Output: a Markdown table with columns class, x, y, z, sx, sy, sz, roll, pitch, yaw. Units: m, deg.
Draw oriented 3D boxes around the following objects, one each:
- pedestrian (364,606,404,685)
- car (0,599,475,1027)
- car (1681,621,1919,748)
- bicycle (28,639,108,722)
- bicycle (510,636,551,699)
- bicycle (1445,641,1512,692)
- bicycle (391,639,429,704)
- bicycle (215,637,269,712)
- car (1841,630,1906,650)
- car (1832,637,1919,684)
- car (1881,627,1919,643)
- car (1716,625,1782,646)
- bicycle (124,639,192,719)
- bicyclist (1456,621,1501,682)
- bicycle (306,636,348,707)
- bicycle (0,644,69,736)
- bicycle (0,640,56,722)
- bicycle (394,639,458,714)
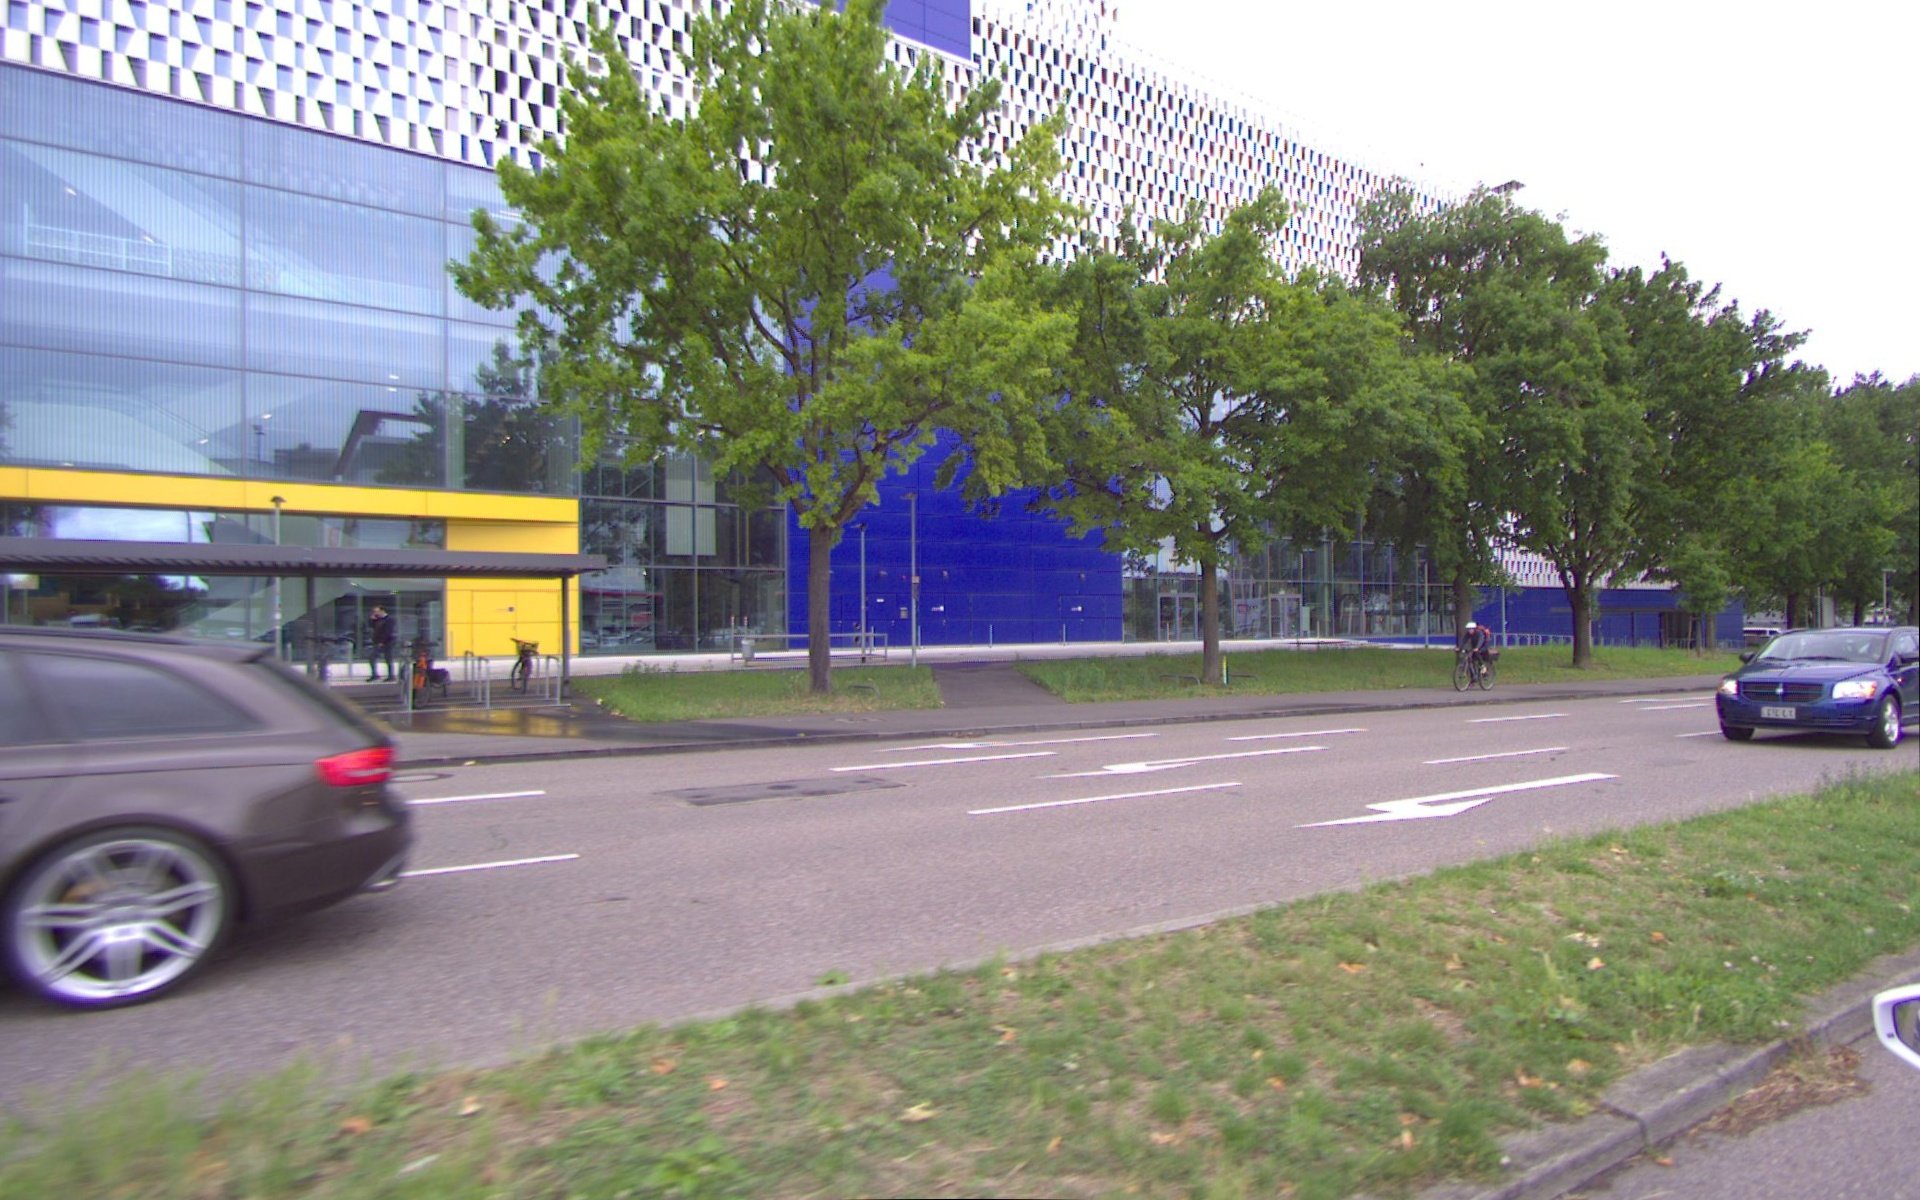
| class | x | y | z | sx | sy | sz | roll | pitch | yaw |
| --- | --- | --- | --- | --- | --- | --- | --- | --- | --- |
| pedestrian | -13.273 | 1.030 | 23.142 | 0.799 | 1.769 | 0.673 | 0 | 0 | -31 |
| car | -4.394 | 0.761 | 3.794 | 4.387 | 1.455 | 1.871 | 2 | -4 | -35 |
| car | 12.088 | 1.090 | 13.888 | 4.390 | 1.505 | 1.921 | 1 | -3 | -32 |
| bicycle | -14.649 | 1.284 | 16.533 | 0.587 | 1.172 | 2.005 | 1 | 0 | -30 |
| bicycle | -8.769 | 1.350 | 20.493 | 0.586 | 1.137 | 2.007 | 1 | 0 | -28 |
| bicycle | 13.868 | 1.757 | 26.861 | 2.033 | 1.267 | 0.639 | 1 | 0 | -32 |
| bicycle | -10.487 | 1.331 | 19.130 | 0.587 | 1.096 | 1.800 | 1 | 0 | -30 |
| bicycle | -12.825 | 1.295 | 17.974 | 0.587 | 1.172 | 2.005 | 1 | 0 | -30 |
| car | 90.175 | 3.924 | 99.228 | 1.980 | 1.734 | 4.405 | -4 | 1 | -35 |
| car | 30.652 | 1.973 | 32.971 | 4.121 | 1.473 | 1.857 | 2 | -3 | -31 |
| car | 100.031 | 3.712 | 105.580 | 1.981 | 1.681 | 4.386 | 2 | -2 | -36 |
| car | 82.527 | 3.698 | 105.164 | 1.860 | 1.990 | 5.101 | -2 | 0 | -34 |
| bicycle | -13.469 | 1.282 | 16.910 | 0.587 | 1.172 | 2.005 | 1 | 0 | -30 |
| bicyclist | 13.872 | 1.365 | 26.893 | 0.989 | 1.598 | 0.637 | 1 | 0 | -32 |
| bicycle | -11.739 | 1.292 | 18.665 | 0.587 | 1.172 | 2.005 | 1 | 0 | -30 |
| bicycle | -13.730 | 1.285 | 14.756 | 0.587 | 1.172 | 1.884 | 1 | 0 | -30 |
| bicycle | -15.279 | 1.276 | 16.224 | 0.587 | 1.172 | 2.005 | 1 | 0 | -30 |
| bicycle | -9.492 | 1.331 | 17.918 | 0.584 | 1.172 | 2.015 | 1 | 0 | -16 |
